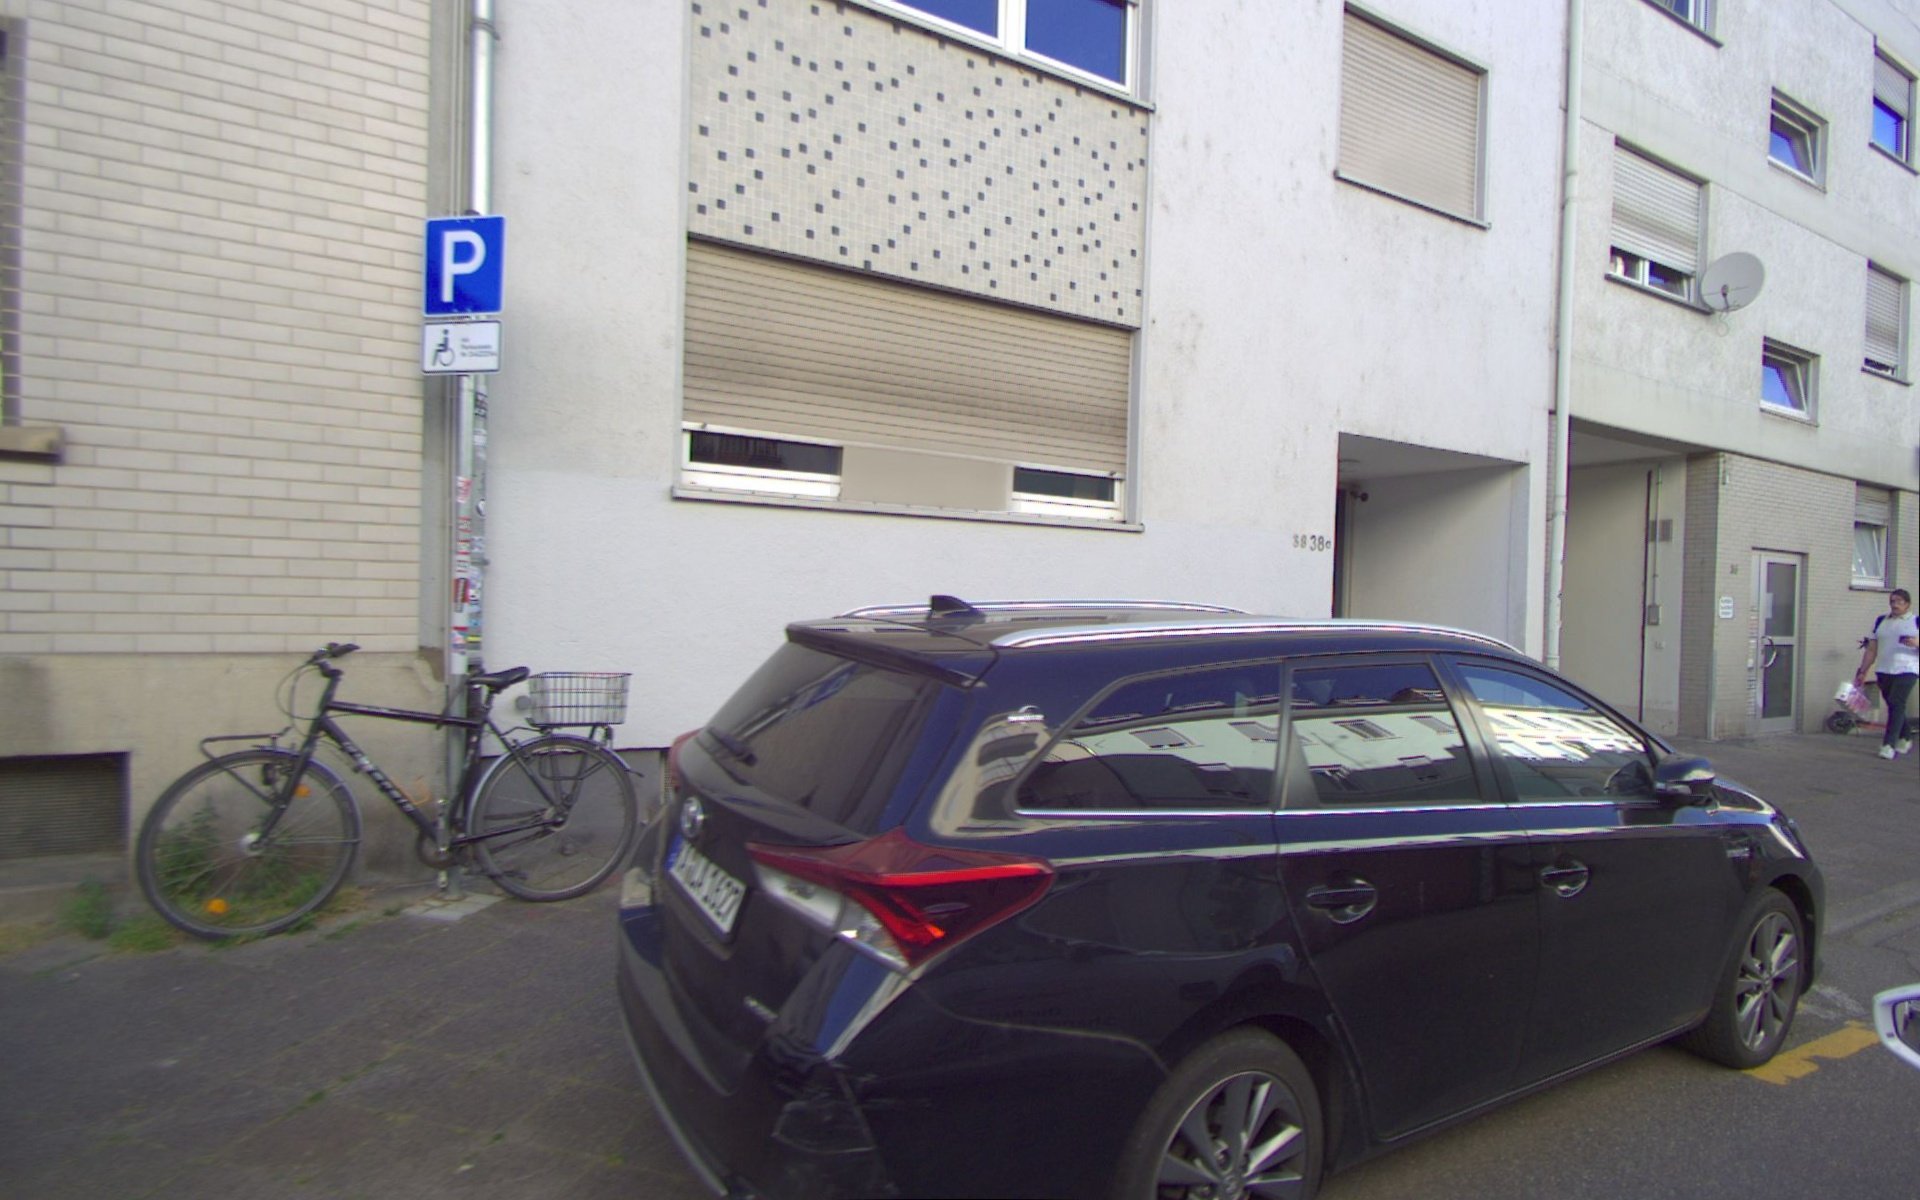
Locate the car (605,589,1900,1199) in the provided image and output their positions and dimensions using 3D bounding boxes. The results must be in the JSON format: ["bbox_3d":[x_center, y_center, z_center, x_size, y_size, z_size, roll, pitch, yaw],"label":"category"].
[{"bbox_3d":[1.217,0.769,3.332,4.253,1.469,1.698,2,0,-32],"label":"car"}]

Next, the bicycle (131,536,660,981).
[{"bbox_3d":[-2.234,0.559,4.168,1.781,1.529,0.554,2,1,-34],"label":"bicycle"}]

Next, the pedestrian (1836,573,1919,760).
[{"bbox_3d":[10.371,0.710,11.071,0.682,1.960,0.802,1,3,-30],"label":"pedestrian"}]

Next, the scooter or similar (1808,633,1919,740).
[{"bbox_3d":[11.493,1.072,12.620,1.208,1.295,0.438,1,-1,11],"label":"scooter or similar"}]
